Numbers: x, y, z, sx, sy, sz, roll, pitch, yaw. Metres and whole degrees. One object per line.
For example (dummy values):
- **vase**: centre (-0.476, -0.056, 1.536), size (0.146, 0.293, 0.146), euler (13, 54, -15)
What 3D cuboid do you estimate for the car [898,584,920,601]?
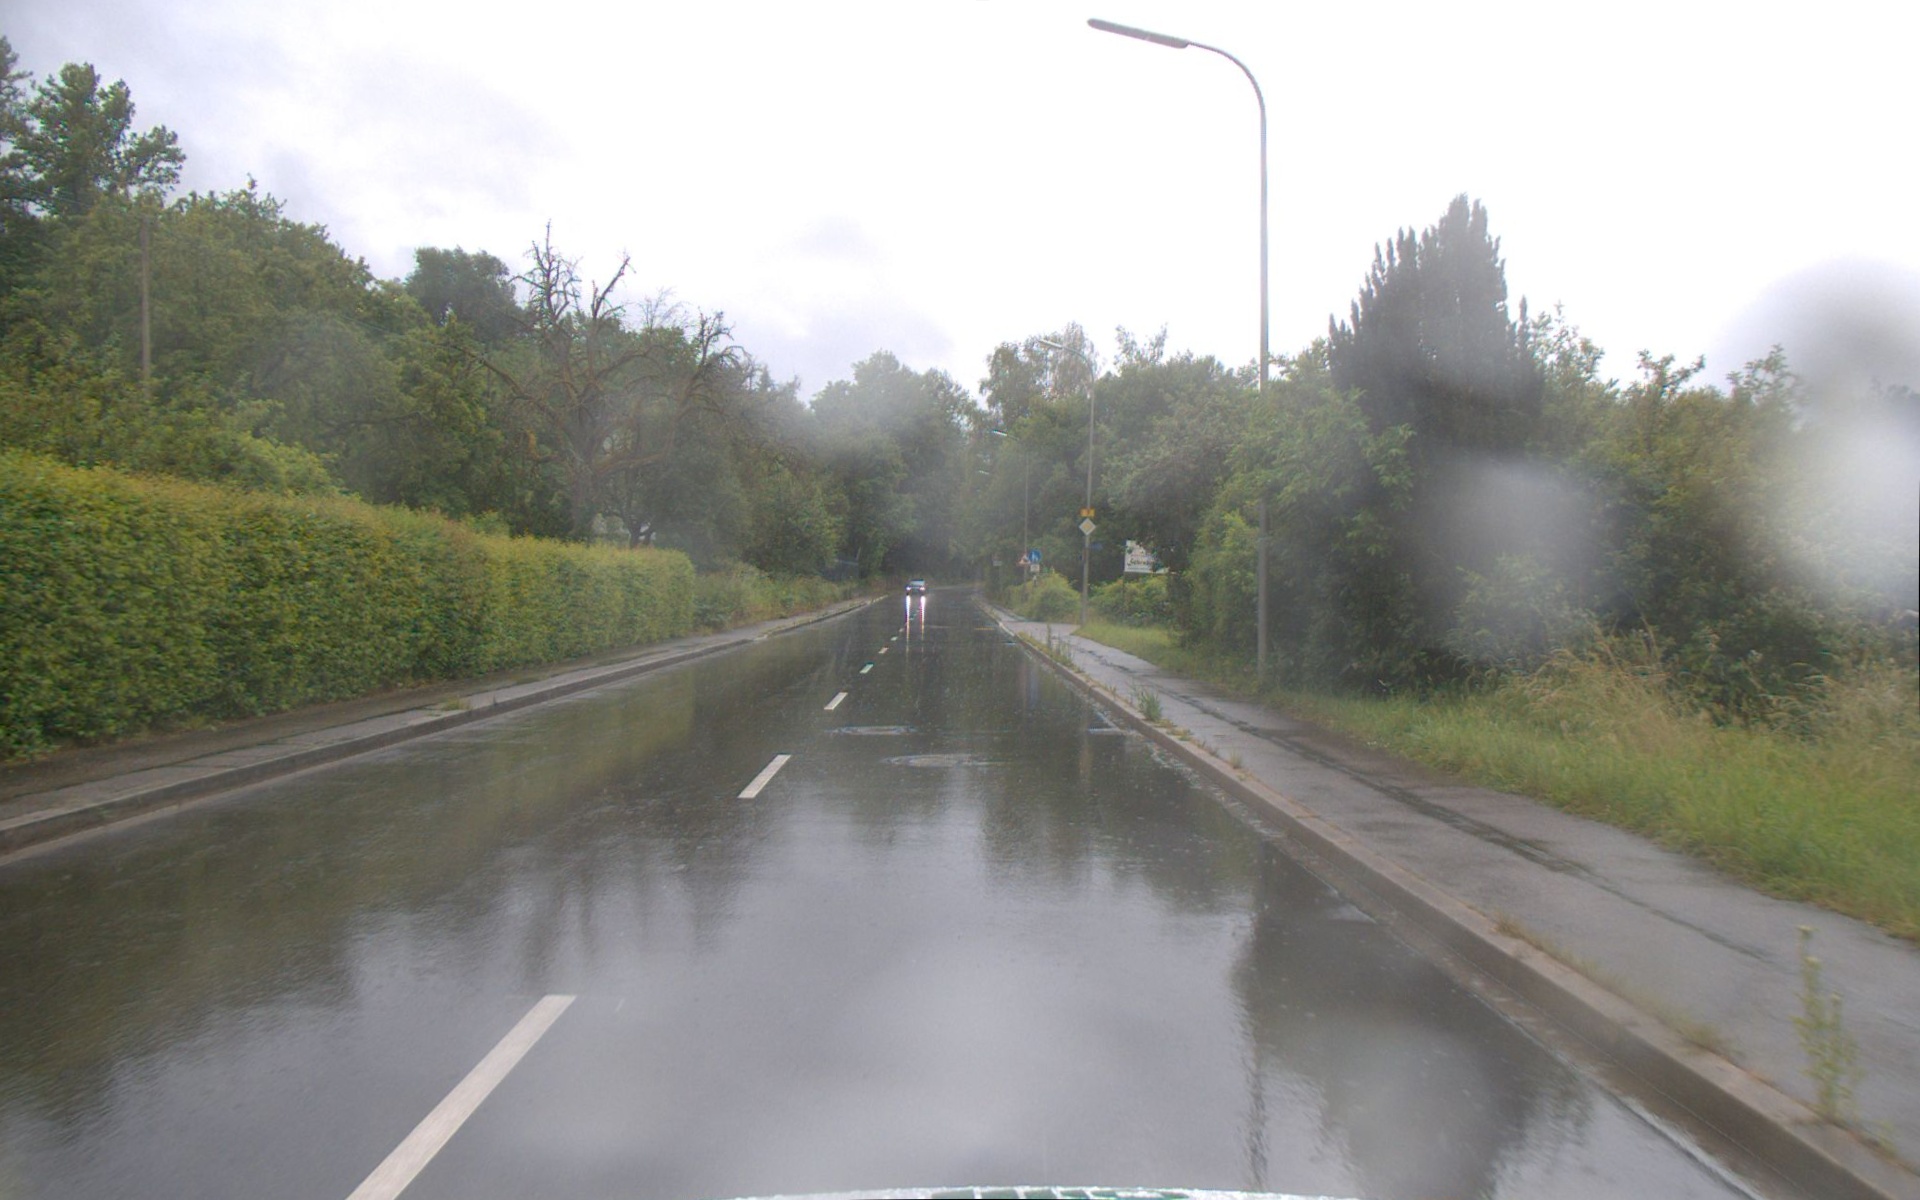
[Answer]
- **car**: centre (-4.750, -0.749, 155.037), size (1.953, 1.479, 4.428), euler (1, 1, 0)
